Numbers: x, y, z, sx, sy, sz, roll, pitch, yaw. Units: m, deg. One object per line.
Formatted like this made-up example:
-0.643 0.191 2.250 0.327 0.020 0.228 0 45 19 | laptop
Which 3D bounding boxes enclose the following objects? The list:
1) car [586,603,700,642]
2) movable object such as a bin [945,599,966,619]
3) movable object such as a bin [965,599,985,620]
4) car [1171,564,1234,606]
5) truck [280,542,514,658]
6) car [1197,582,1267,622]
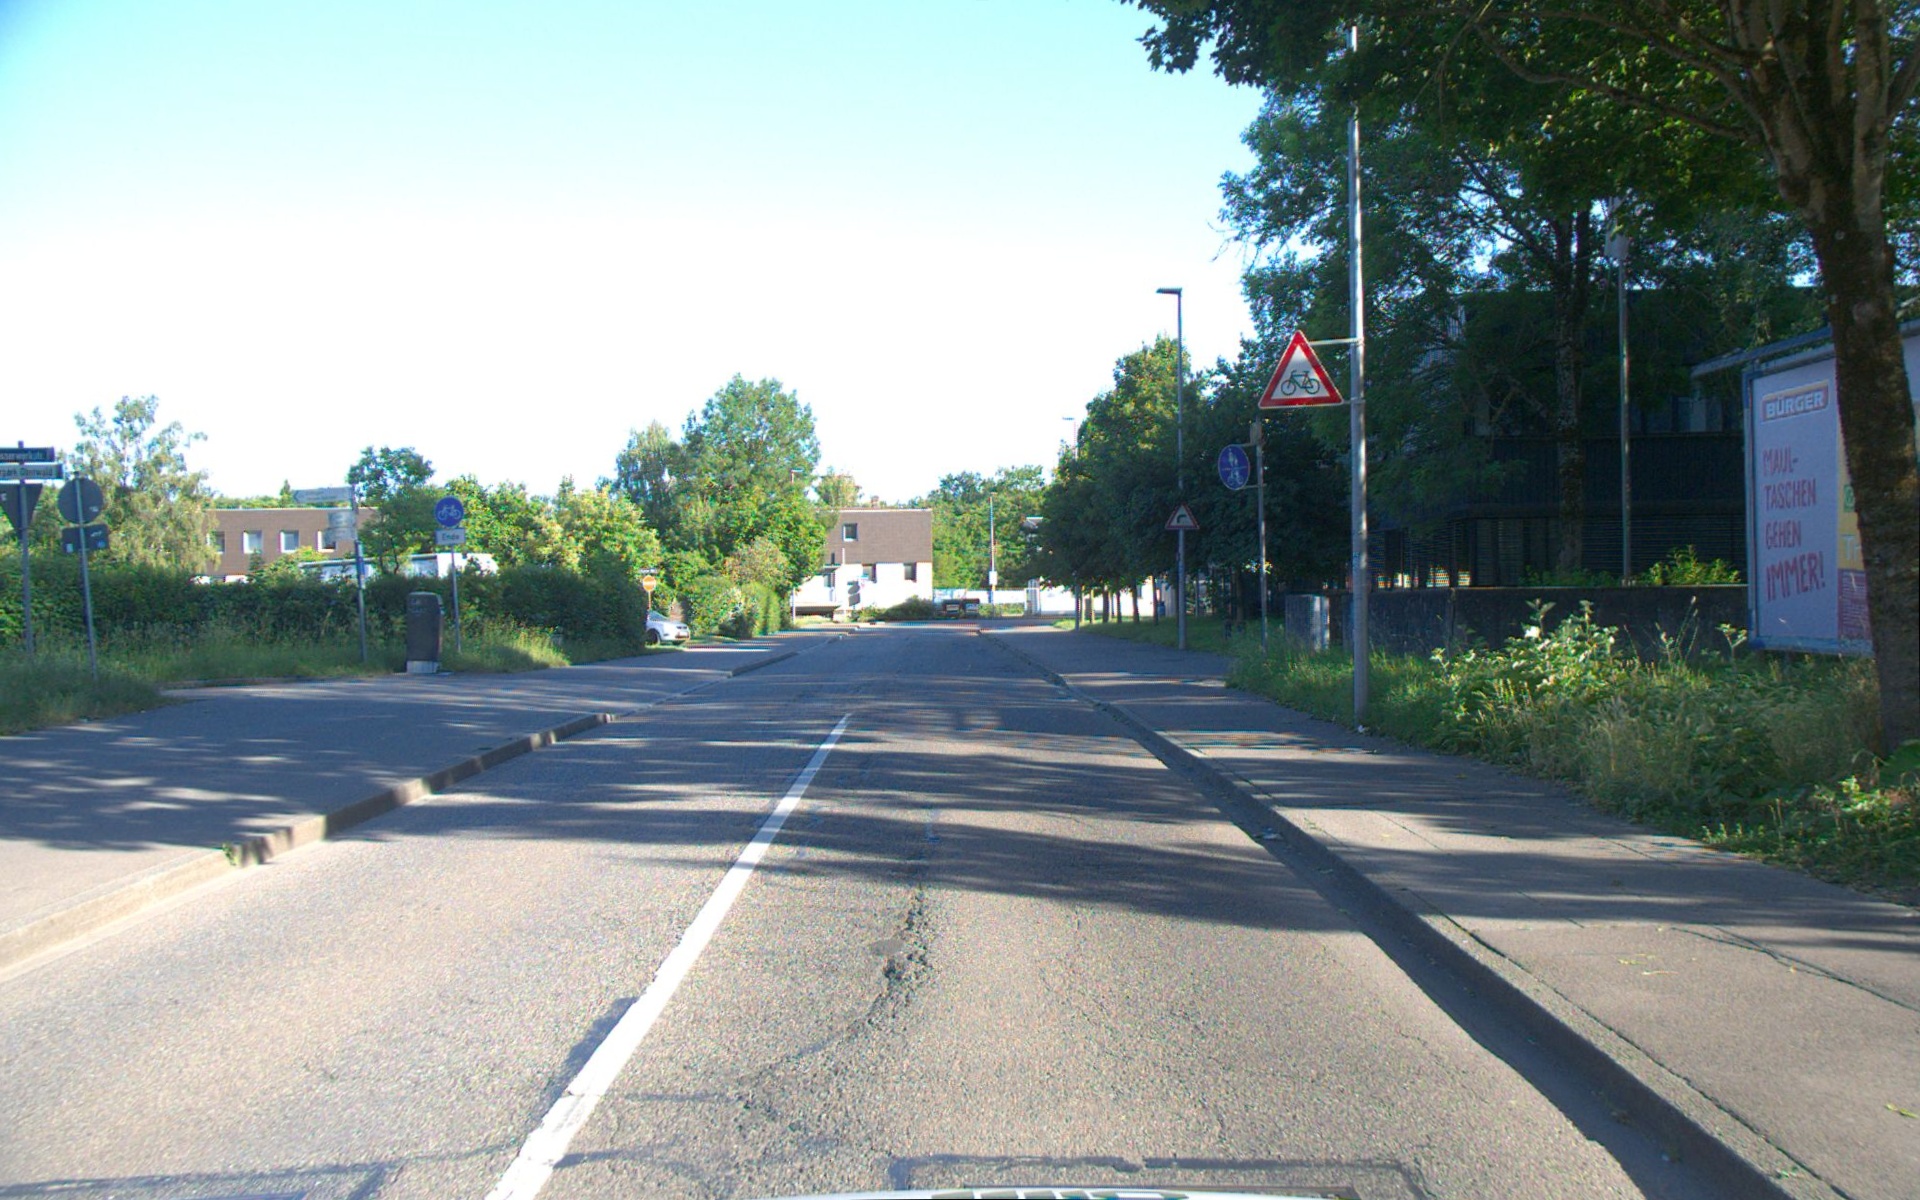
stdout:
-12.462 0.877 65.046 4.127 1.516 1.875 0 -1 26 | car
-0.333 0.646 116.676 1.339 1.443 1.063 0 -1 -8 | movable object such as a bin
1.055 0.656 116.907 1.339 1.443 1.063 0 -1 -8 | movable object such as a bin
11.200 -0.667 76.667 1.800 1.846 4.660 0 -1 -6 | car
-20.880 0.094 61.127 9.126 3.951 2.707 -2 -2 28 | truck
10.498 0.111 64.066 1.799 1.492 4.275 0 -1 -3 | car
